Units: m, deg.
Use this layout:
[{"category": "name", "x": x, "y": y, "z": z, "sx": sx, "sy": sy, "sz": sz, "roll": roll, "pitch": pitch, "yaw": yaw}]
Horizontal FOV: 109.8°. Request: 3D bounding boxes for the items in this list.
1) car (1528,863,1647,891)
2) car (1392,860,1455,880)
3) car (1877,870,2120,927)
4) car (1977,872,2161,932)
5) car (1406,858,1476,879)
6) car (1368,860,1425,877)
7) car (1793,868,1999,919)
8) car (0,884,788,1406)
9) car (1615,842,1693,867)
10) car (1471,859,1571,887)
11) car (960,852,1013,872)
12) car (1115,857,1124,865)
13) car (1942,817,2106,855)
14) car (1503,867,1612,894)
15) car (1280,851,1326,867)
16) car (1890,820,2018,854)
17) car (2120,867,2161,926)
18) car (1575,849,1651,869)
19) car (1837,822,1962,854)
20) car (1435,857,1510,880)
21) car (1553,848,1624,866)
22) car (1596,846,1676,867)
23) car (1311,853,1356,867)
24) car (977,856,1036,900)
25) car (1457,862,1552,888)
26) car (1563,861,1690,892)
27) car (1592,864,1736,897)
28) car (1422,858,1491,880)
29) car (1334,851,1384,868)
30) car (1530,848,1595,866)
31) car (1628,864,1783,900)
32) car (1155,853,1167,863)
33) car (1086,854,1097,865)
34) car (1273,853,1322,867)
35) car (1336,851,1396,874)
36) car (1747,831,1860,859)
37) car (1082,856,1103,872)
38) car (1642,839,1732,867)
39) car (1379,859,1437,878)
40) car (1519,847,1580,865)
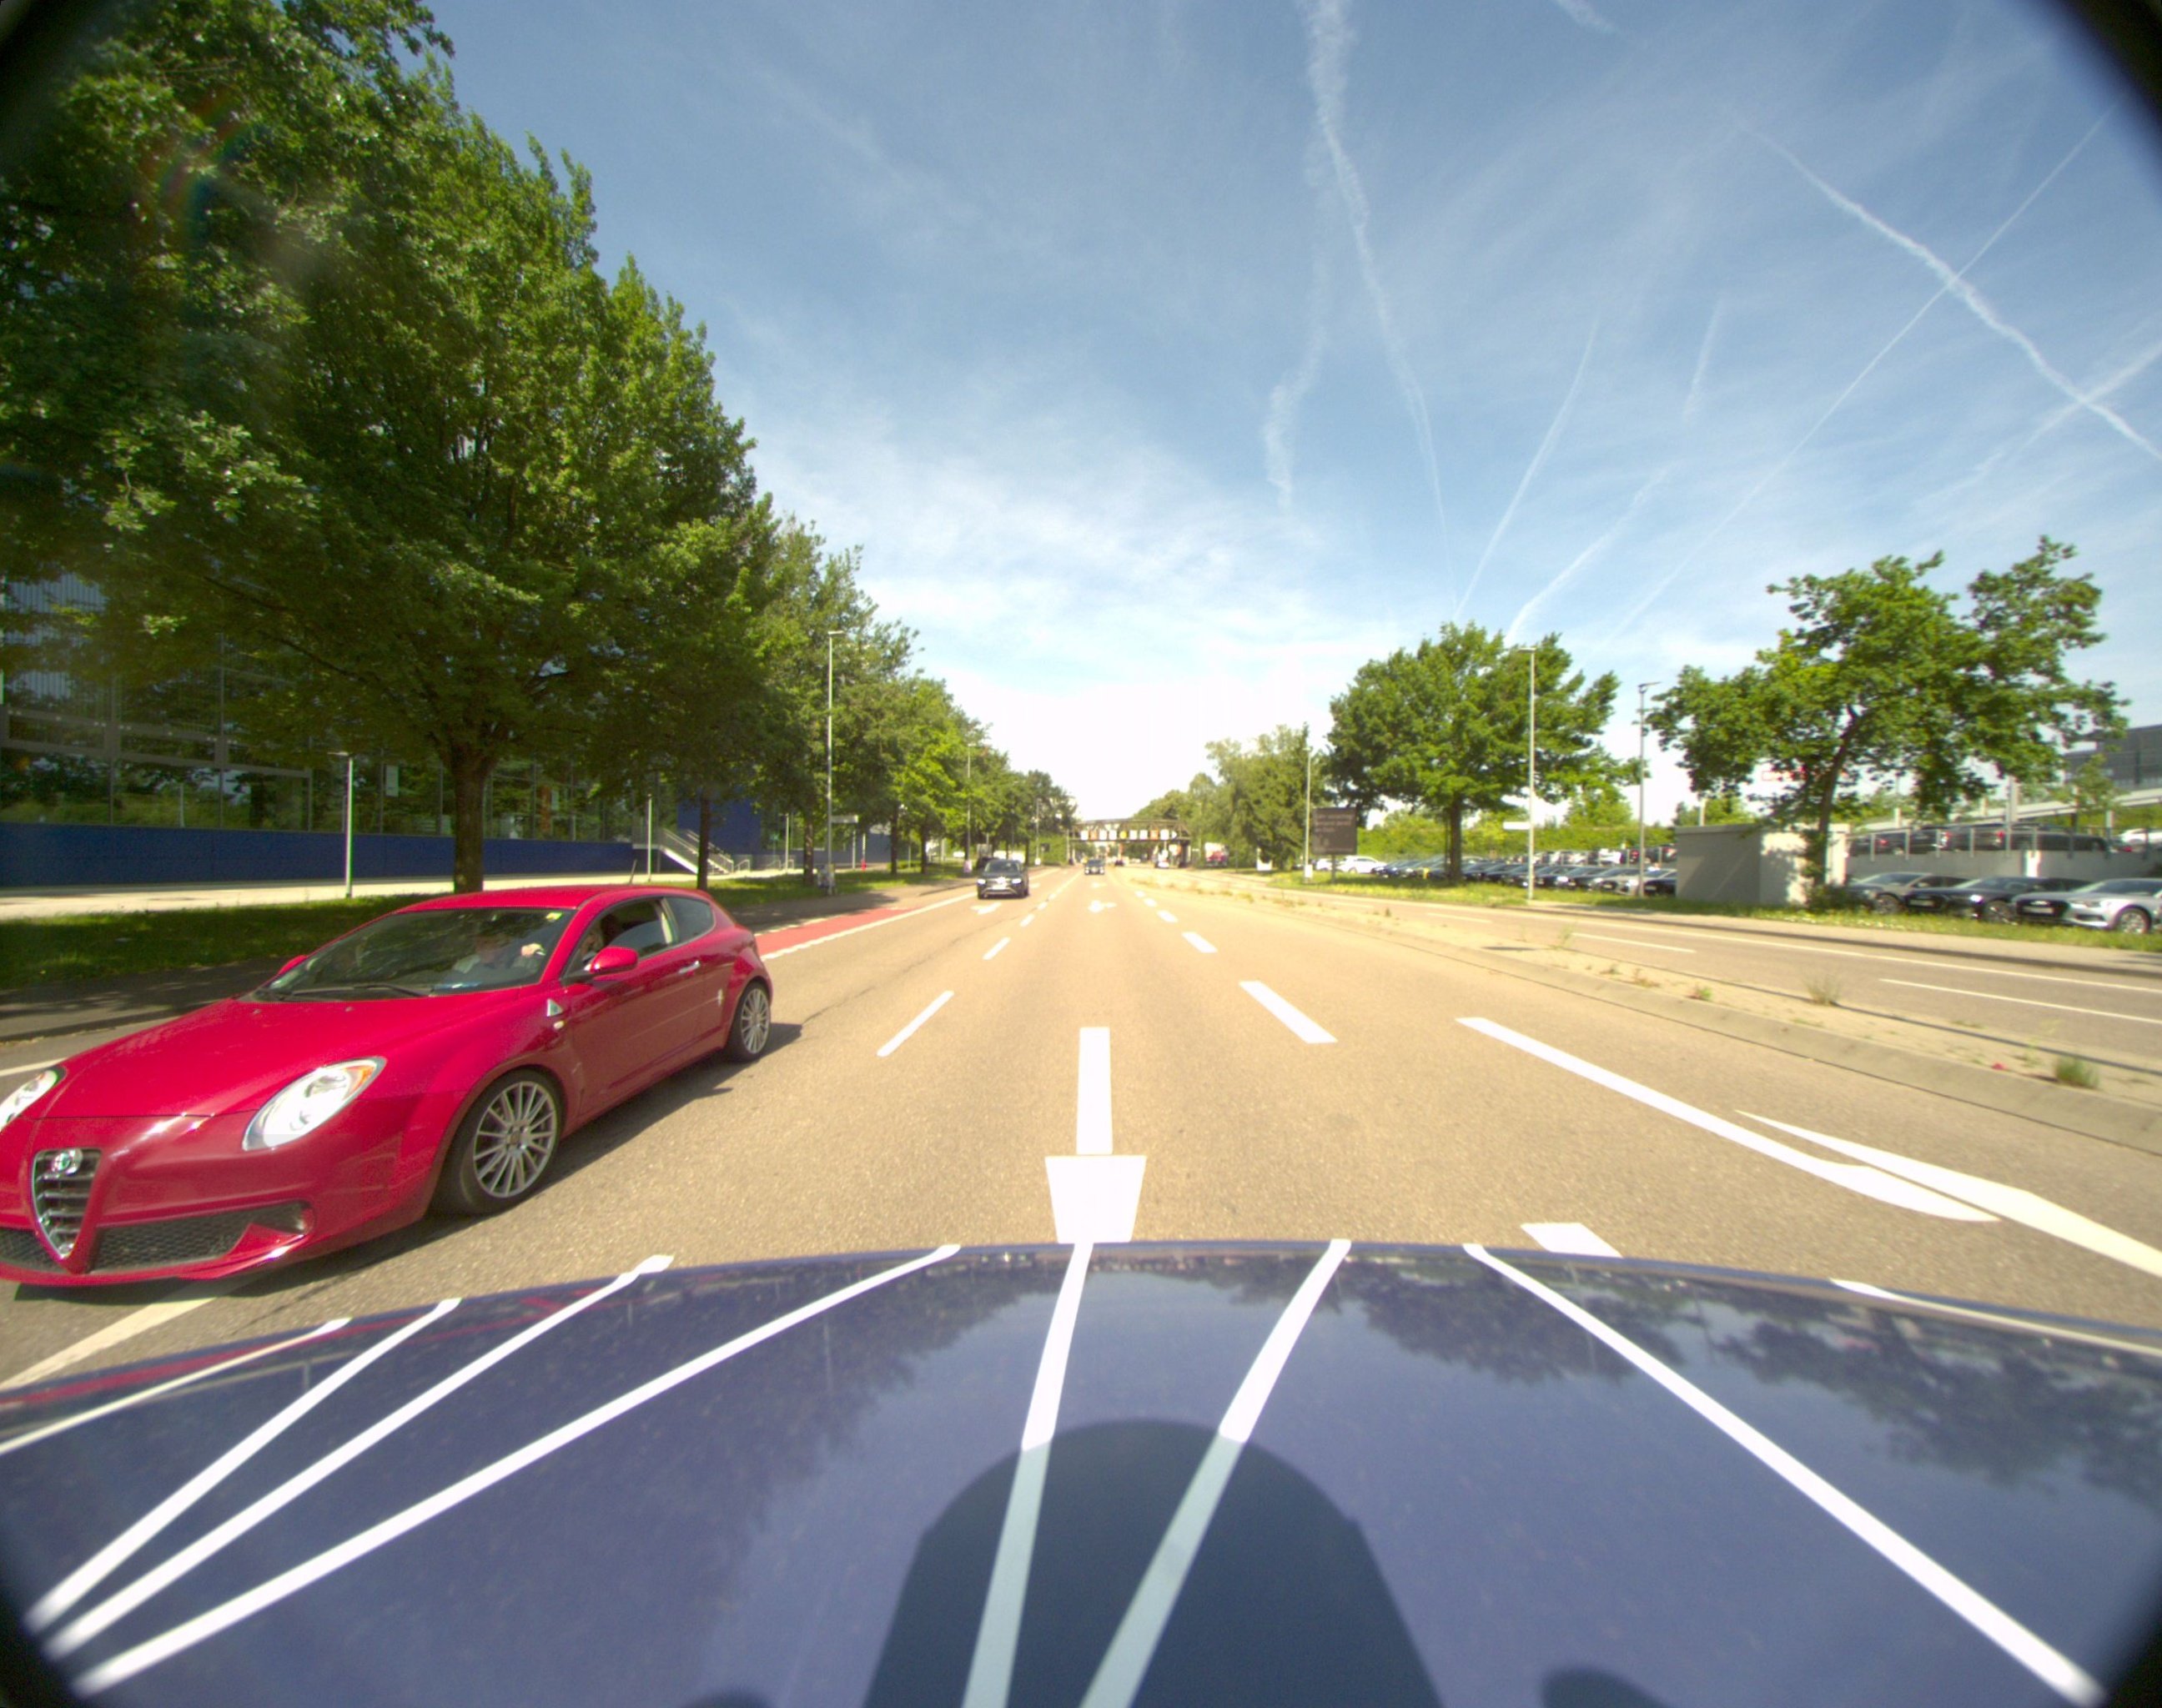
[{"category": "car", "x": 24.605, "y": 1.099, "z": 37.006, "sx": 4.511, "sy": 1.282, "sz": 1.919, "roll": 1, "pitch": 0, "yaw": -1}, {"category": "car", "x": 24.947, "y": 1.165, "z": 55.400, "sx": 3.752, "sy": 1.277, "sz": 1.663, "roll": 2, "pitch": 0, "yaw": -1}, {"category": "car", "x": 23.729, "y": 1.123, "z": 19.776, "sx": 3.997, "sy": 1.149, "sz": 1.897, "roll": 4, "pitch": 0, "yaw": -1}, {"category": "car", "x": 23.813, "y": 1.130, "z": 17.369, "sx": 4.184, "sy": 1.149, "sz": 2.087, "roll": 4, "pitch": 0, "yaw": -1}, {"category": "car", "x": 24.996, "y": 0.996, "z": 52.851, "sx": 3.897, "sy": 1.332, "sz": 1.840, "roll": 2, "pitch": 0, "yaw": -1}, {"category": "car", "x": 25.136, "y": 1.137, "z": 60.580, "sx": 3.801, "sy": 1.277, "sz": 1.744, "roll": -1, "pitch": 0, "yaw": -1}, {"category": "car", "x": 23.833, "y": 1.135, "z": 22.341, "sx": 3.997, "sy": 1.149, "sz": 1.897, "roll": 4, "pitch": 0, "yaw": -1}, {"category": "car", "x": -3.390, "y": 1.003, "z": 4.379, "sx": 1.798, "sy": 1.446, "sz": 3.979, "roll": -1, "pitch": 1, "yaw": 1}, {"category": "car", "x": 40.726, "y": 0.028, "z": 54.091, "sx": 4.279, "sy": 1.695, "sz": 1.664, "roll": 1, "pitch": 0, "yaw": -1}, {"category": "car", "x": 24.735, "y": 1.035, "z": 42.815, "sx": 4.511, "sy": 1.467, "sz": 1.919, "roll": 1, "pitch": 0, "yaw": -1}, {"category": "car", "x": -8.657, "y": 0.699, "z": 69.544, "sx": 4.452, "sy": 1.684, "sz": 1.845, "roll": 2, "pitch": 1, "yaw": 8}, {"category": "car", "x": 7.887, "y": 1.476, "z": 155.892, "sx": 1.785, "sy": 1.438, "sz": 4.120, "roll": 1, "pitch": 1, "yaw": 1}, {"category": "car", "x": 40.232, "y": -0.748, "z": 32.500, "sx": 4.530, "sy": 1.487, "sz": 1.986, "roll": -1, "pitch": 0, "yaw": 1}, {"category": "car", "x": 24.823, "y": 1.359, "z": 39.679, "sx": 4.511, "sy": 1.282, "sz": 1.919, "roll": 1, "pitch": 0, "yaw": -1}, {"category": "car", "x": 23.053, "y": 0.539, "z": 79.020, "sx": 4.224, "sy": 1.537, "sz": 2.000, "roll": -1, "pitch": 0, "yaw": 1}, {"category": "car", "x": 40.559, "y": -0.759, "z": 35.359, "sx": 3.997, "sy": 1.487, "sz": 1.668, "roll": -1, "pitch": 0, "yaw": 1}, {"category": "car", "x": 23.698, "y": 0.990, "z": 14.821, "sx": 4.184, "sy": 1.183, "sz": 1.955, "roll": 4, "pitch": 0, "yaw": -1}, {"category": "car", "x": 41.068, "y": 0.364, "z": 58.740, "sx": 4.511, "sy": 1.476, "sz": 1.979, "roll": 1, "pitch": 0, "yaw": -1}, {"category": "car", "x": 40.714, "y": -0.756, "z": 37.893, "sx": 3.997, "sy": 1.487, "sz": 2.052, "roll": -1, "pitch": 0, "yaw": 1}, {"category": "car", "x": 24.651, "y": 0.909, "z": 47.904, "sx": 3.689, "sy": 1.277, "sz": 1.985, "roll": 2, "pitch": 0, "yaw": -1}, {"category": "car", "x": 40.953, "y": 0.242, "z": 61.377, "sx": 4.511, "sy": 1.410, "sz": 1.891, "roll": -1, "pitch": 0, "yaw": -1}, {"category": "car", "x": 41.140, "y": 0.148, "z": 56.399, "sx": 4.511, "sy": 1.476, "sz": 1.979, "roll": 1, "pitch": 0, "yaw": -1}, {"category": "car", "x": 24.534, "y": 0.574, "z": 73.919, "sx": 3.689, "sy": 1.363, "sz": 1.816, "roll": -1, "pitch": 0, "yaw": 1}, {"category": "car", "x": -2.922, "y": 0.925, "z": 30.719, "sx": 1.824, "sy": 1.632, "sz": 4.113, "roll": -1, "pitch": 0, "yaw": 2}, {"category": "car", "x": 25.015, "y": 1.214, "z": 44.951, "sx": 4.511, "sy": 1.467, "sz": 1.979, "roll": 1, "pitch": 0, "yaw": -1}, {"category": "car", "x": 24.612, "y": 0.996, "z": 34.371, "sx": 4.511, "sy": 1.282, "sz": 1.691, "roll": 1, "pitch": 0, "yaw": -1}, {"category": "car", "x": 24.474, "y": 1.089, "z": 32.020, "sx": 4.511, "sy": 1.282, "sz": 2.004, "roll": 1, "pitch": 0, "yaw": -1}, {"category": "car", "x": 24.843, "y": 0.954, "z": 50.314, "sx": 3.603, "sy": 1.277, "sz": 1.865, "roll": 2, "pitch": 0, "yaw": -1}, {"category": "car", "x": 25.980, "y": 0.503, "z": 71.121, "sx": 3.995, "sy": 1.477, "sz": 1.848, "roll": -1, "pitch": 0, "yaw": 5}, {"category": "car", "x": 40.639, "y": 0.254, "z": 64.209, "sx": 4.213, "sy": 1.468, "sz": 2.000, "roll": -1, "pitch": 0, "yaw": -2}, {"category": "car", "x": 24.371, "y": 1.080, "z": 29.777, "sx": 4.511, "sy": 1.282, "sz": 1.919, "roll": 1, "pitch": 0, "yaw": -1}, {"category": "car", "x": 14.659, "y": 0.738, "z": 139.481, "sx": 1.998, "sy": 1.608, "sz": 4.105, "roll": 2, "pitch": 0, "yaw": 5}, {"category": "car", "x": 1.903, "y": 1.028, "z": 140.531, "sx": 1.998, "sy": 2.002, "sz": 4.000, "roll": -1, "pitch": 0, "yaw": 1}, {"category": "car", "x": 23.363, "y": 0.642, "z": 81.986, "sx": 4.698, "sy": 1.381, "sz": 2.000, "roll": -1, "pitch": 0, "yaw": 1}, {"category": "car", "x": 24.724, "y": 0.741, "z": 66.001, "sx": 4.473, "sy": 1.864, "sz": 2.000, "roll": -1, "pitch": 0, "yaw": 2}, {"category": "car", "x": 40.828, "y": -0.499, "z": 43.000, "sx": 4.511, "sy": 1.476, "sz": 1.979, "roll": 1, "pitch": 0, "yaw": -1}, {"category": "car", "x": 1.083, "y": 0.911, "z": 70.720, "sx": 1.888, "sy": 1.427, "sz": 4.000, "roll": -1, "pitch": 0, "yaw": 1}, {"category": "car", "x": 41.016, "y": -0.074, "z": 51.455, "sx": 4.511, "sy": 1.805, "sz": 1.979, "roll": 1, "pitch": 0, "yaw": -1}, {"category": "car", "x": 24.894, "y": 1.063, "z": 57.934, "sx": 3.603, "sy": 1.277, "sz": 1.744, "roll": 2, "pitch": 0, "yaw": -1}, {"category": "car", "x": 41.107, "y": 0.197, "z": 66.718, "sx": 4.213, "sy": 1.468, "sz": 2.000, "roll": -1, "pitch": 0, "yaw": -2}]
